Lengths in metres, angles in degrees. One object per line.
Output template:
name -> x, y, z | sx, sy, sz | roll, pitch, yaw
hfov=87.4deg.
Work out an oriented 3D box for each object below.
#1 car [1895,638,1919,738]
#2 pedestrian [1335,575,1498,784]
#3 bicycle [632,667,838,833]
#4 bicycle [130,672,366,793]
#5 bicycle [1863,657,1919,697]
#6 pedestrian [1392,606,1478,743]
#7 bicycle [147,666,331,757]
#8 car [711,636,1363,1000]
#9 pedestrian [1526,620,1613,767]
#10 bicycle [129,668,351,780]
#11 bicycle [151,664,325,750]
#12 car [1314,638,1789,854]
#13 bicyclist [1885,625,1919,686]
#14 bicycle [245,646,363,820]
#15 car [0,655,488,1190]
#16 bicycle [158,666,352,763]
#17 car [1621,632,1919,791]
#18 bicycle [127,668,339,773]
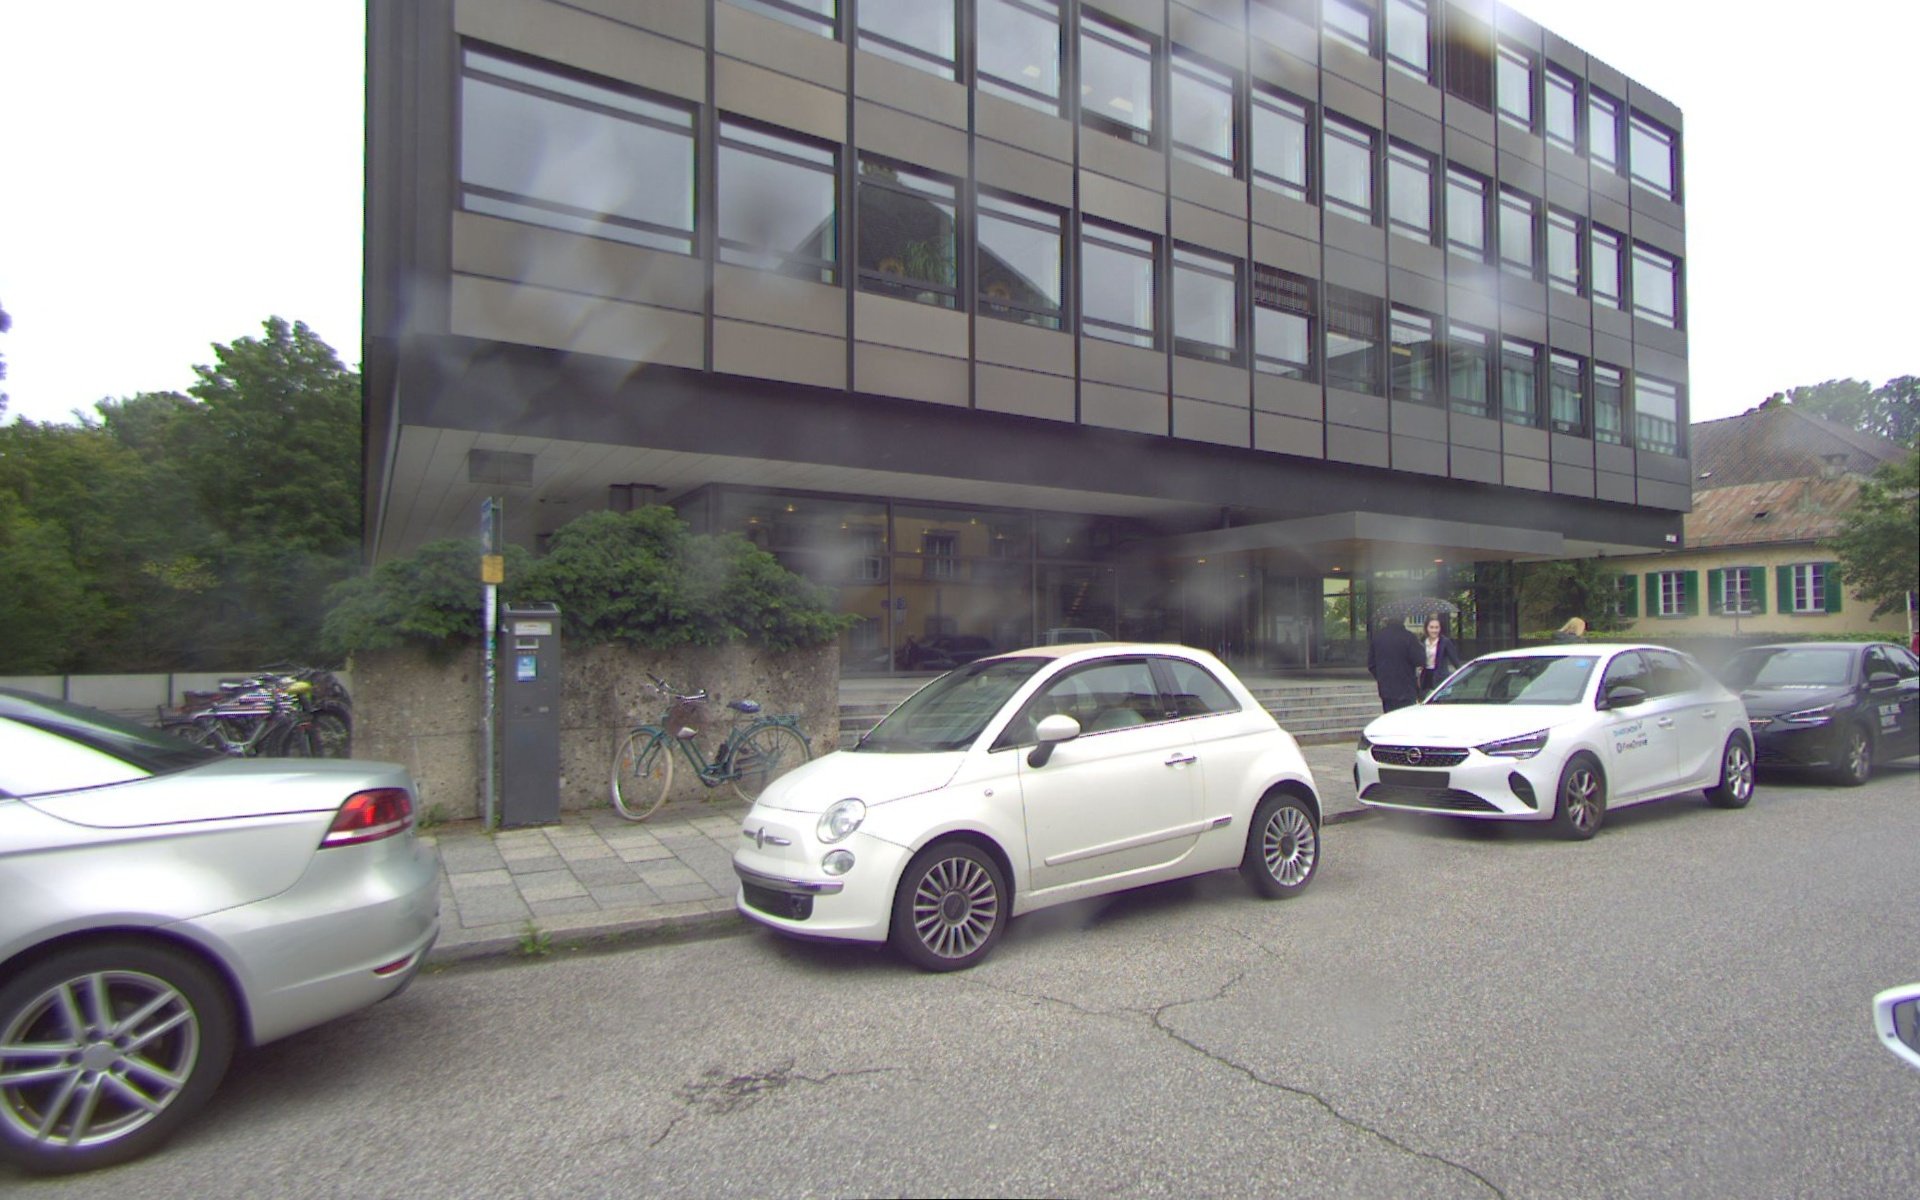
car -> 16.505, 1.303, 15.470 | 4.866, 1.458, 1.912 | 2, -5, -33
pedestrian -> 4.886, 0.808, 10.784 | 1.208, 2.082, 1.129 | 1, -1, -32
bicycle -> -1.827, 1.168, 8.218 | 1.511, 1.180, 0.639 | 1, 0, -33
bicycle -> -8.177, 1.489, 11.686 | 2.156, 1.232, 0.746 | 1, -3, -30
bicycle -> 24.455, 1.956, 25.581 | 0.613, 1.017, 2.132 | 2, -3, -17
pedestrian -> 6.448, 0.985, 13.637 | 0.884, 1.775, 0.683 | 2, -1, -36
bicycle -> -10.741, 1.637, 15.083 | 2.156, 1.232, 0.746 | 1, -3, -30
car -> 0.522, 0.991, 5.791 | 3.513, 1.489, 1.536 | 1, -4, -32
pedestrian -> 7.722, 1.150, 12.718 | 0.745, 1.772, 0.947 | -2, -3, 43
bicycle -> -8.843, 1.492, 12.478 | 2.156, 1.232, 0.746 | 1, -3, -30
bicycle -> -11.362, 1.661, 15.913 | 2.156, 1.232, 0.746 | 1, -3, -30
car -> 5.199, 1.107, 8.696 | 4.230, 1.458, 1.674 | 1, -5, -31
bicyclist -> 24.472, 1.421, 25.605 | 0.663, 1.517, 1.091 | 2, -3, -17
bicycle -> -5.924, 1.104, 9.021 | 0.685, 1.291, 2.157 | 1, -1, -38
car -> -3.804, 0.947, 3.047 | 4.168, 1.418, 1.751 | 1, -6, -31
bicycle -> -9.892, 1.577, 14.215 | 2.156, 1.232, 0.746 | 1, -3, -30
car -> 9.478, 1.146, 11.241 | 4.187, 1.479, 1.733 | 1, -5, -30
bicycle -> -9.425, 1.530, 13.152 | 2.156, 1.232, 0.746 | 1, -3, -30
